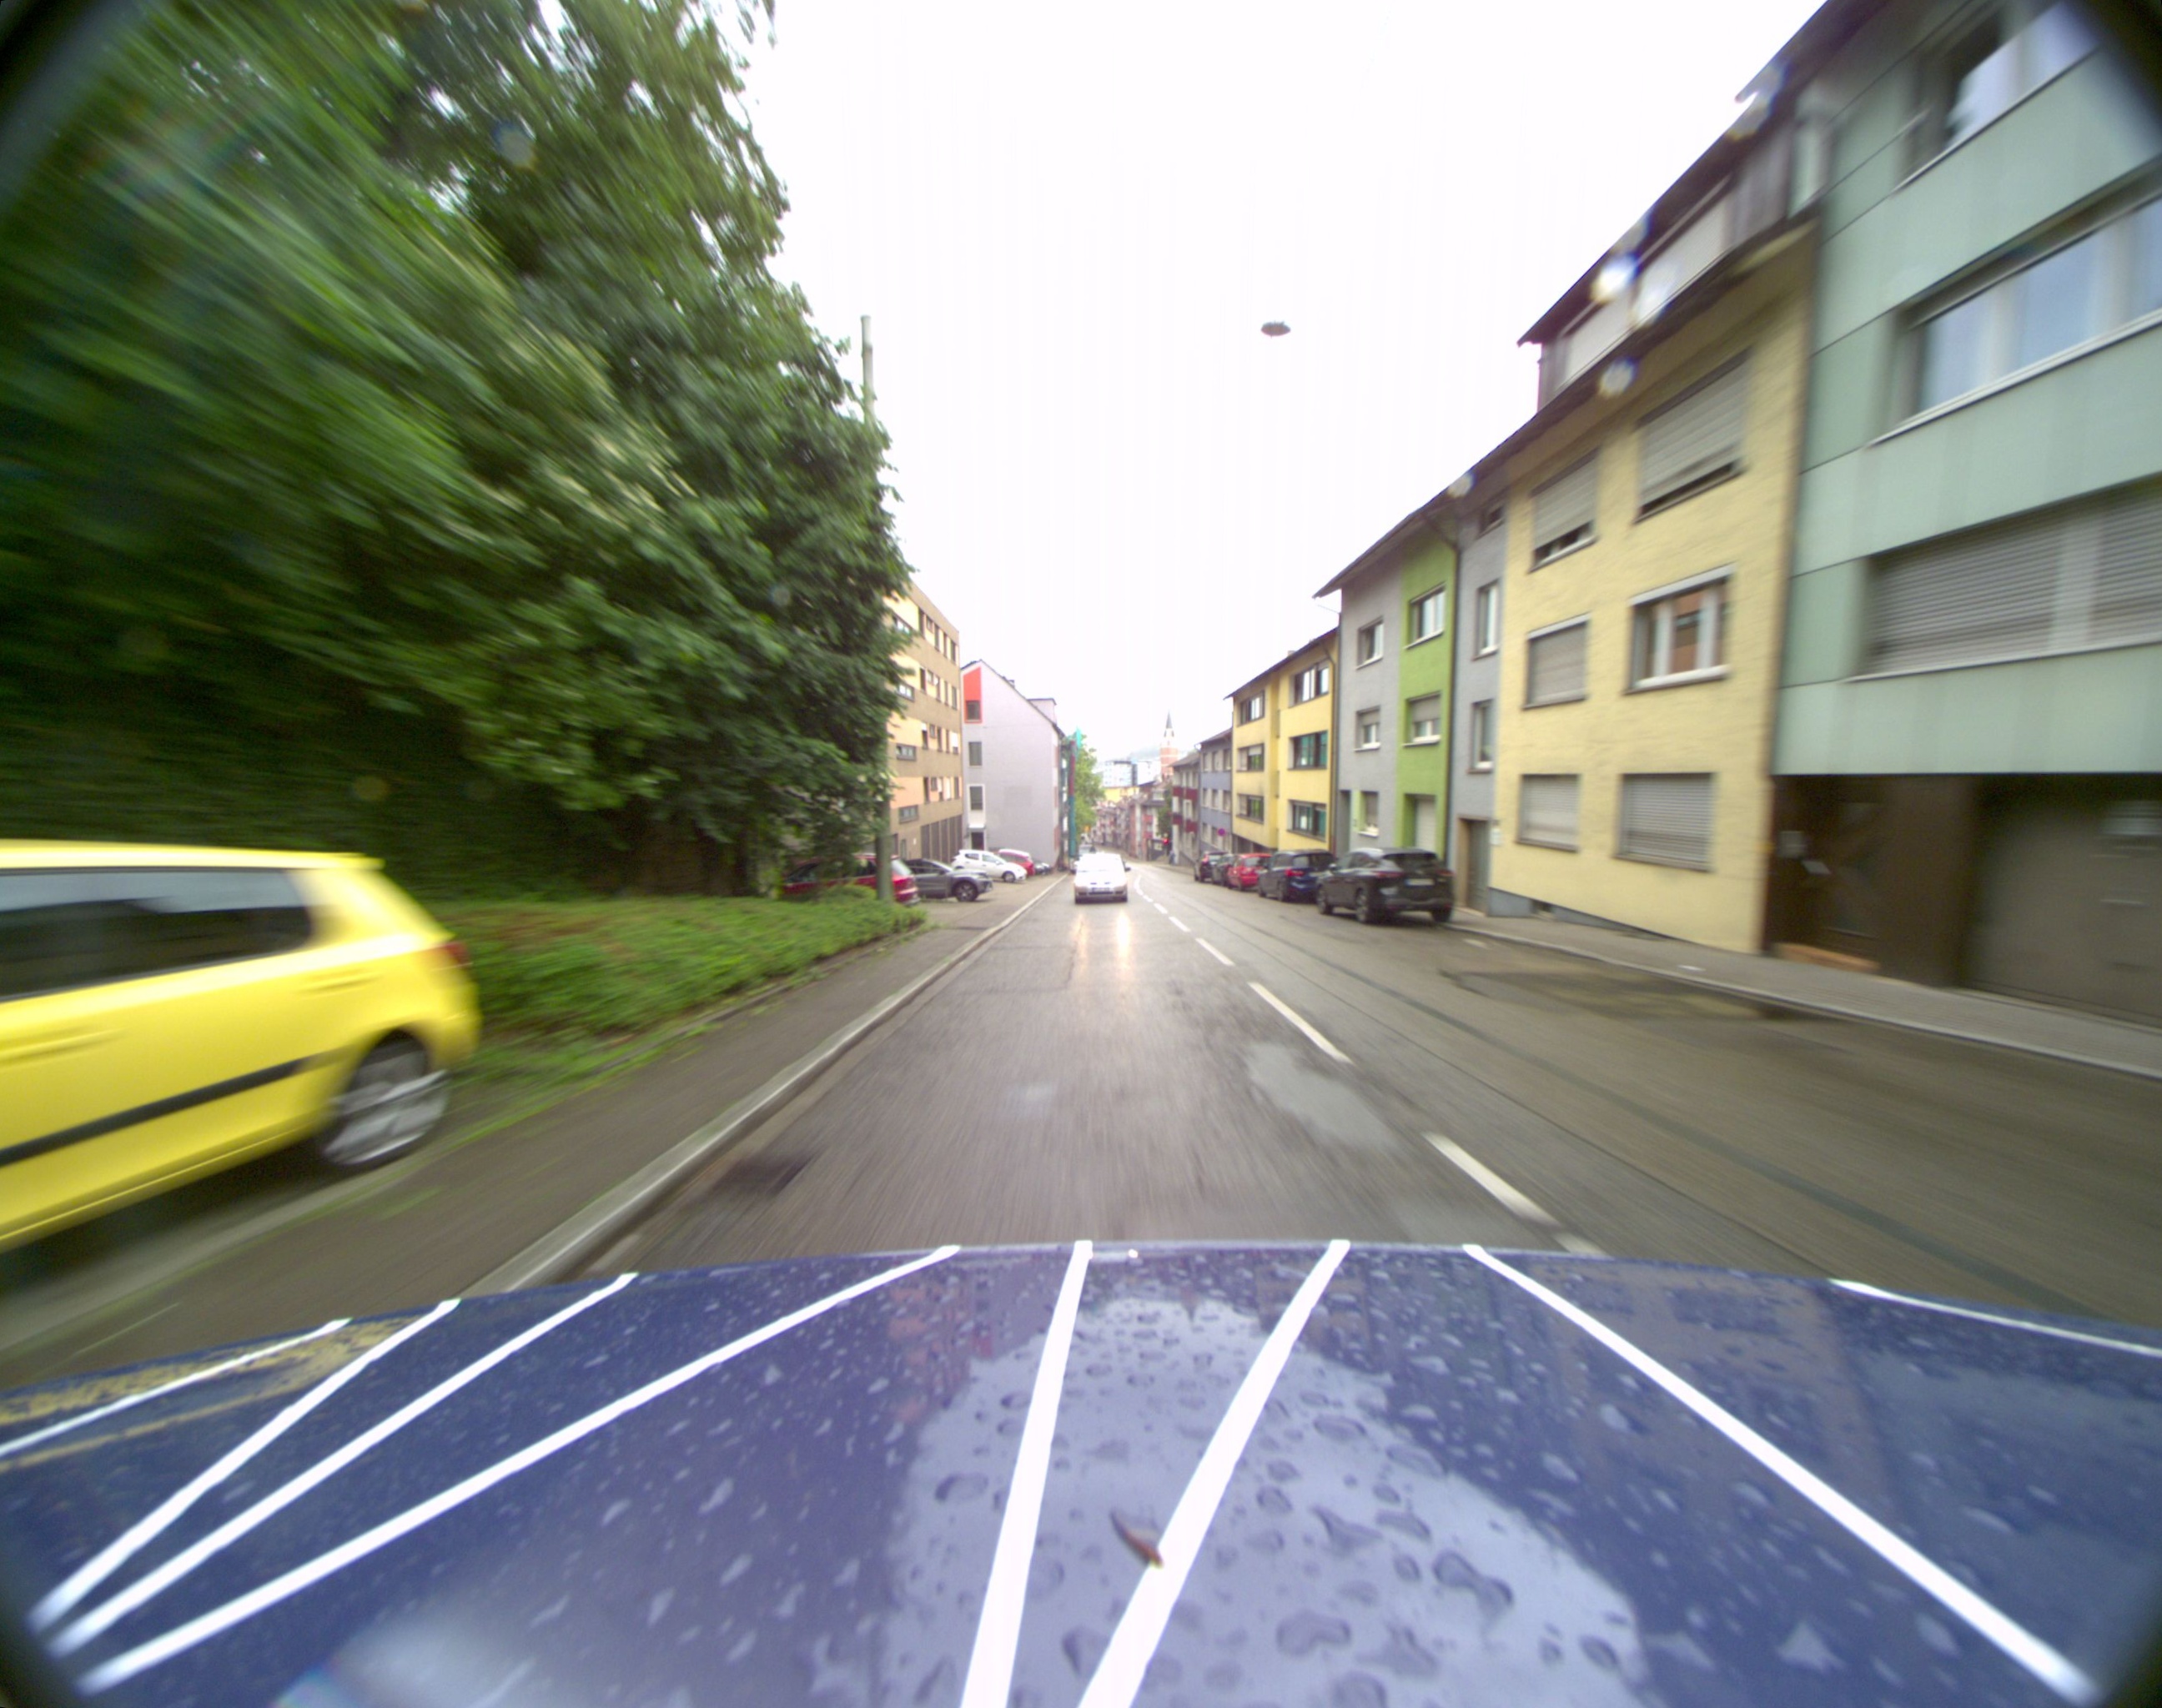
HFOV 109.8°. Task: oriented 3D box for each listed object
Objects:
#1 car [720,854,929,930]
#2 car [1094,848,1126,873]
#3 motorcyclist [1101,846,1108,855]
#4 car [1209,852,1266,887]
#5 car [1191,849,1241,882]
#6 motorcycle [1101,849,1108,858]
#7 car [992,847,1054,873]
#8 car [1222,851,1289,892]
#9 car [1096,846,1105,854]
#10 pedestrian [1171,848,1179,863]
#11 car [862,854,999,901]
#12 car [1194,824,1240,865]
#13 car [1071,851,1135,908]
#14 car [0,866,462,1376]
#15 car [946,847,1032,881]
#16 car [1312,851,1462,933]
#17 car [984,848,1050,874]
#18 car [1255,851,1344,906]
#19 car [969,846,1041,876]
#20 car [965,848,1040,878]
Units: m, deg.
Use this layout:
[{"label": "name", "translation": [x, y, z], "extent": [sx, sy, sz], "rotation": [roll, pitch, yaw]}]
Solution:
[{"label": "car", "translation": [-5.839, 0.844, 17.639], "extent": [4.193, 1.584, 1.803], "rotation": [-1, 1, 1]}, {"label": "car", "translation": [1.883, 0.389, 50.752], "extent": [1.999, 1.603, 3.966], "rotation": [-1, 1, 0]}, {"label": "motorcyclist", "translation": [2.986, -0.399, 95.377], "extent": [0.779, 1.120, 0.549], "rotation": [-2, 1, 3]}, {"label": "car", "translation": [7.363, 0.675, 36.201], "extent": [1.908, 1.528, 4.000], "rotation": [1, 1, 1]}, {"label": "car", "translation": [7.222, 0.580, 41.042], "extent": [1.908, 1.647, 4.328], "rotation": [1, 1, 1]}, {"label": "motorcycle", "translation": [2.995, -0.086, 95.399], "extent": [0.779, 1.120, 2.299], "rotation": [-2, 1, 3]}, {"label": "car", "translation": [-4.068, 0.410, 53.638], "extent": [4.193, 1.565, 1.803], "rotation": [3, 1, 0]}, {"label": "car", "translation": [7.124, 0.671, 31.425], "extent": [1.908, 1.528, 4.000], "rotation": [1, 1, 1]}, {"label": "car", "translation": [4.310, -0.895, 169.424], "extent": [1.999, 1.603, 3.966], "rotation": [-1, 1, 0]}, {"label": "pedestrian", "translation": [9.921, 0.161, 80.163], "extent": [0.805, 1.608, 0.455], "rotation": [-1, 1, 2]}, {"label": "car", "translation": [-4.939, 0.764, 25.359], "extent": [4.193, 1.408, 1.803], "rotation": [1, 1, 0]}, {"label": "car", "translation": [9.191, -0.634, 51.948], "extent": [2.122, 2.536, 5.443], "rotation": [2, 0, 0]}, {"label": "car", "translation": [0.772, 0.729, 24.344], "extent": [1.826, 1.603, 4.189], "rotation": [-1, 1, 3]}, {"label": "car", "translation": [-4.051, 0.833, 2.004], "extent": [1.567, 1.458, 3.898], "rotation": [2, 1, 1]}, {"label": "car", "translation": [-4.753, 0.518, 39.811], "extent": [4.193, 1.565, 1.803], "rotation": [3, 1, 0]}, {"label": "car", "translation": [6.649, 0.751, 16.997], "extent": [1.696, 1.584, 3.999], "rotation": [1, 1, 0]}, {"label": "car", "translation": [-4.257, 0.453, 51.053], "extent": [4.193, 1.565, 1.803], "rotation": [3, 1, 0]}, {"label": "car", "translation": [6.877, 0.709, 24.306], "extent": [1.687, 1.584, 4.055], "rotation": [1, 1, 1]}, {"label": "car", "translation": [-4.675, 0.427, 47.195], "extent": [4.193, 1.635, 1.803], "rotation": [3, 2, 0]}, {"label": "car", "translation": [-4.577, 0.503, 44.710], "extent": [4.193, 1.565, 1.803], "rotation": [3, 1, 0]}]
